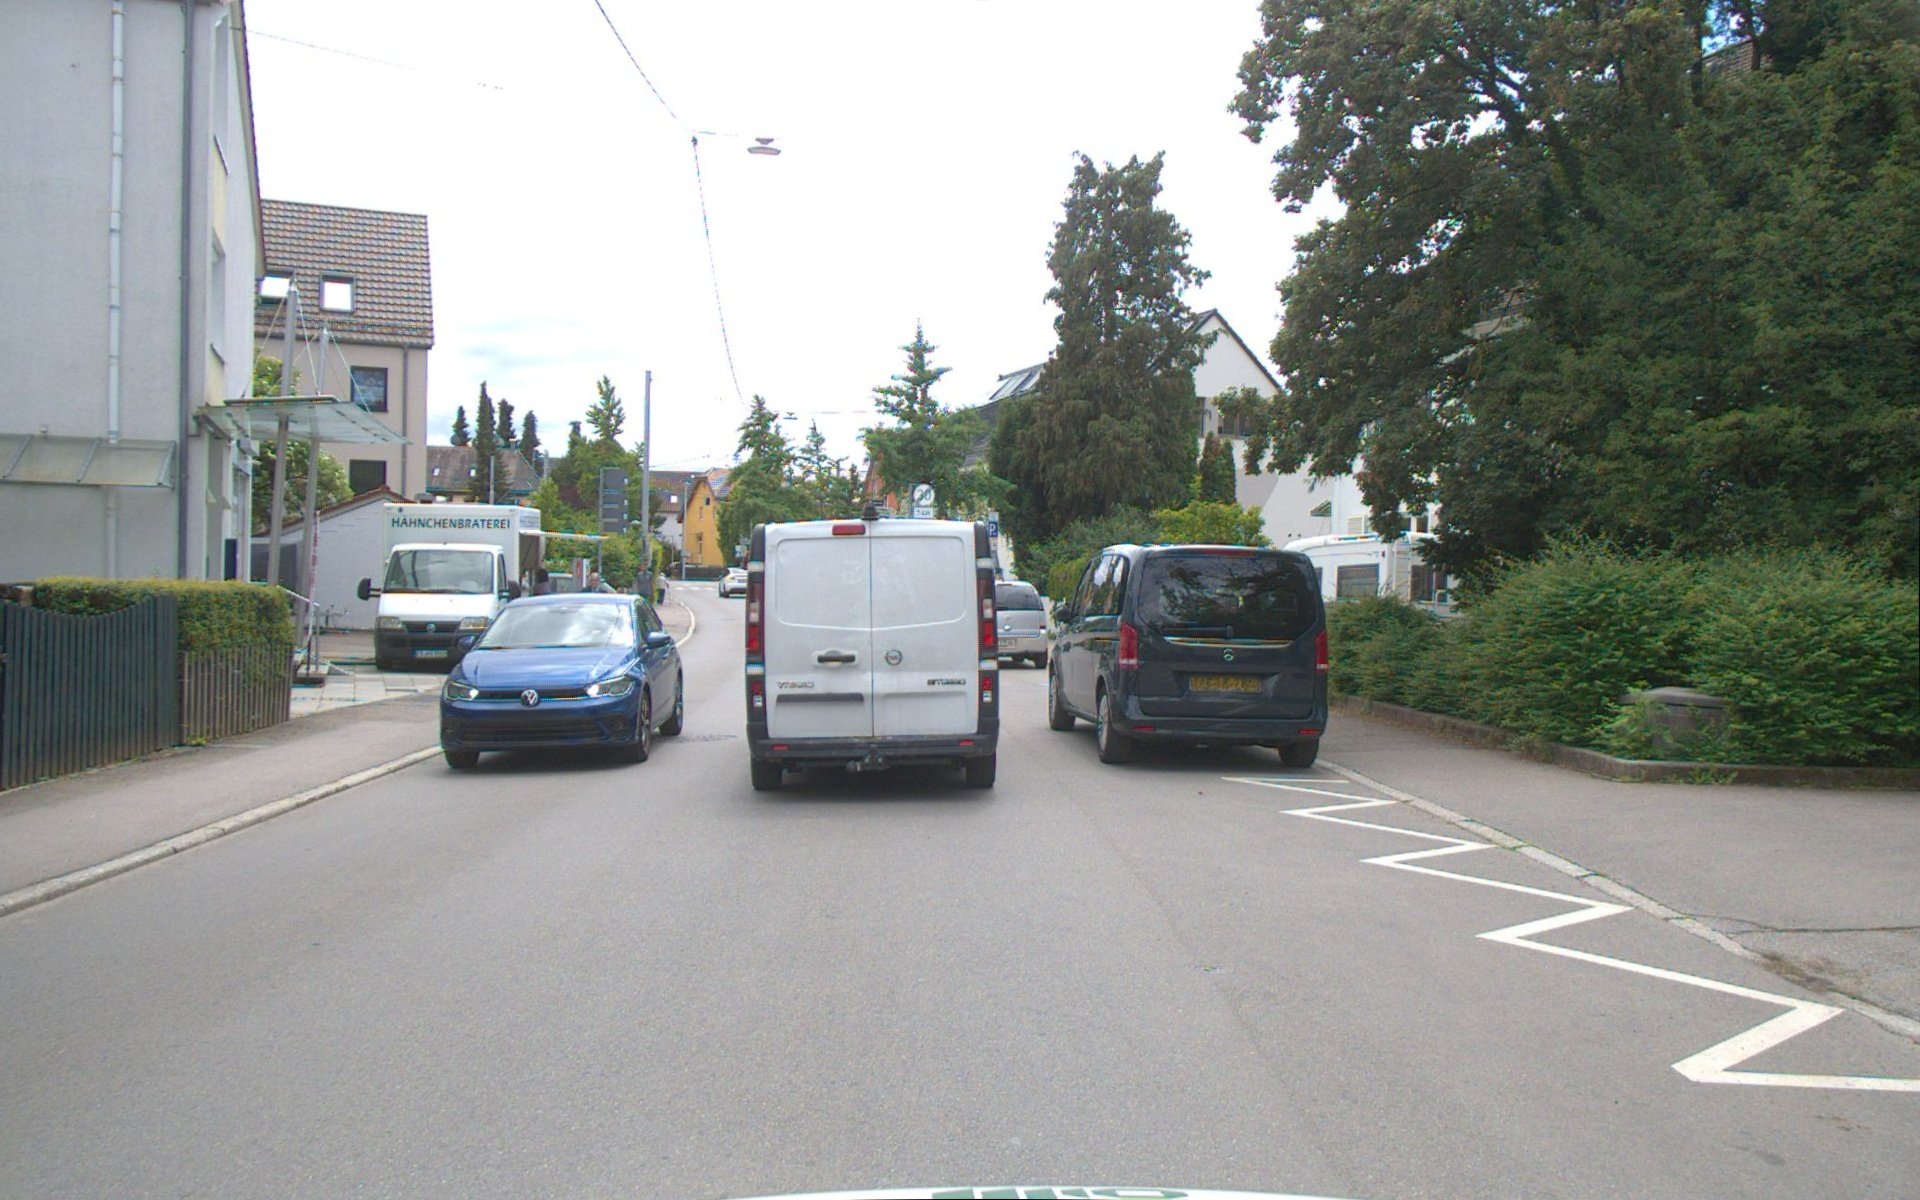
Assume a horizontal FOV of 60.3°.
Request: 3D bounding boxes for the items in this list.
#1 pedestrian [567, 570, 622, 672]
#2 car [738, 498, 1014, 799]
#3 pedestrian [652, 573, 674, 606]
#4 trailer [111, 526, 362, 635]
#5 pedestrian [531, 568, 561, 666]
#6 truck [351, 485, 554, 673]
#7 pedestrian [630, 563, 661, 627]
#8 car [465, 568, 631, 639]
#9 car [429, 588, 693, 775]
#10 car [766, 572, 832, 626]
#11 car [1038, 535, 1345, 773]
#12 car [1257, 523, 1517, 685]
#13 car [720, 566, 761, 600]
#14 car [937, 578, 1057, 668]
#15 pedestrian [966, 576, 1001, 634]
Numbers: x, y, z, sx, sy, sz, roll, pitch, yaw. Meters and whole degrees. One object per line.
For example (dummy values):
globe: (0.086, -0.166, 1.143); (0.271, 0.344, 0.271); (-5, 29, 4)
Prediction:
pedestrian: (-6.428, 0.361, 29.133); (0.708, 1.716, 1.108); (3, 0, -4)
car: (-0.752, 0.322, 13.483); (1.878, 2.037, 4.433); (0, 0, -5)
pedestrian: (-14.007, -0.510, 77.963); (0.867, 1.511, 0.450); (3, 0, -32)
trailer: (-16.034, -0.436, 36.870); (4.774, 2.116, 1.700); (3, 1, -11)
pedestrian: (-7.456, 0.303, 29.799); (0.393, 1.724, 0.596); (3, 0, -9)
truck: (-8.758, -0.342, 29.240); (2.427, 2.890, 6.694); (1, 0, -9)
pedestrian: (-9.937, -0.161, 52.344); (0.718, 1.979, 1.216); (3, 0, -4)
car: (-11.357, 0.098, 45.524); (4.246, 1.725, 1.788); (3, 0, -19)
car: (-3.536, 0.647, 15.312); (1.660, 1.457, 3.924); (-1, 0, -3)
car: (-5.816, -0.051, 59.400); (1.959, 1.880, 3.988); (0, 1, -12)
car: (1.995, 0.427, 15.904); (1.871, 1.880, 5.153); (1, 0, -4)
car: (7.954, 0.053, 31.465); (2.456, 2.728, 5.165); (3, 0, -16)
car: (-12.257, -0.954, 92.306); (1.959, 1.813, 3.988); (0, 1, -12)
car: (0.653, 0.404, 31.918); (1.726, 1.610, 4.012); (-1, 0, -7)
pedestrian: (0.705, 0.136, 49.408); (0.864, 1.674, 0.856); (3, 0, -6)
